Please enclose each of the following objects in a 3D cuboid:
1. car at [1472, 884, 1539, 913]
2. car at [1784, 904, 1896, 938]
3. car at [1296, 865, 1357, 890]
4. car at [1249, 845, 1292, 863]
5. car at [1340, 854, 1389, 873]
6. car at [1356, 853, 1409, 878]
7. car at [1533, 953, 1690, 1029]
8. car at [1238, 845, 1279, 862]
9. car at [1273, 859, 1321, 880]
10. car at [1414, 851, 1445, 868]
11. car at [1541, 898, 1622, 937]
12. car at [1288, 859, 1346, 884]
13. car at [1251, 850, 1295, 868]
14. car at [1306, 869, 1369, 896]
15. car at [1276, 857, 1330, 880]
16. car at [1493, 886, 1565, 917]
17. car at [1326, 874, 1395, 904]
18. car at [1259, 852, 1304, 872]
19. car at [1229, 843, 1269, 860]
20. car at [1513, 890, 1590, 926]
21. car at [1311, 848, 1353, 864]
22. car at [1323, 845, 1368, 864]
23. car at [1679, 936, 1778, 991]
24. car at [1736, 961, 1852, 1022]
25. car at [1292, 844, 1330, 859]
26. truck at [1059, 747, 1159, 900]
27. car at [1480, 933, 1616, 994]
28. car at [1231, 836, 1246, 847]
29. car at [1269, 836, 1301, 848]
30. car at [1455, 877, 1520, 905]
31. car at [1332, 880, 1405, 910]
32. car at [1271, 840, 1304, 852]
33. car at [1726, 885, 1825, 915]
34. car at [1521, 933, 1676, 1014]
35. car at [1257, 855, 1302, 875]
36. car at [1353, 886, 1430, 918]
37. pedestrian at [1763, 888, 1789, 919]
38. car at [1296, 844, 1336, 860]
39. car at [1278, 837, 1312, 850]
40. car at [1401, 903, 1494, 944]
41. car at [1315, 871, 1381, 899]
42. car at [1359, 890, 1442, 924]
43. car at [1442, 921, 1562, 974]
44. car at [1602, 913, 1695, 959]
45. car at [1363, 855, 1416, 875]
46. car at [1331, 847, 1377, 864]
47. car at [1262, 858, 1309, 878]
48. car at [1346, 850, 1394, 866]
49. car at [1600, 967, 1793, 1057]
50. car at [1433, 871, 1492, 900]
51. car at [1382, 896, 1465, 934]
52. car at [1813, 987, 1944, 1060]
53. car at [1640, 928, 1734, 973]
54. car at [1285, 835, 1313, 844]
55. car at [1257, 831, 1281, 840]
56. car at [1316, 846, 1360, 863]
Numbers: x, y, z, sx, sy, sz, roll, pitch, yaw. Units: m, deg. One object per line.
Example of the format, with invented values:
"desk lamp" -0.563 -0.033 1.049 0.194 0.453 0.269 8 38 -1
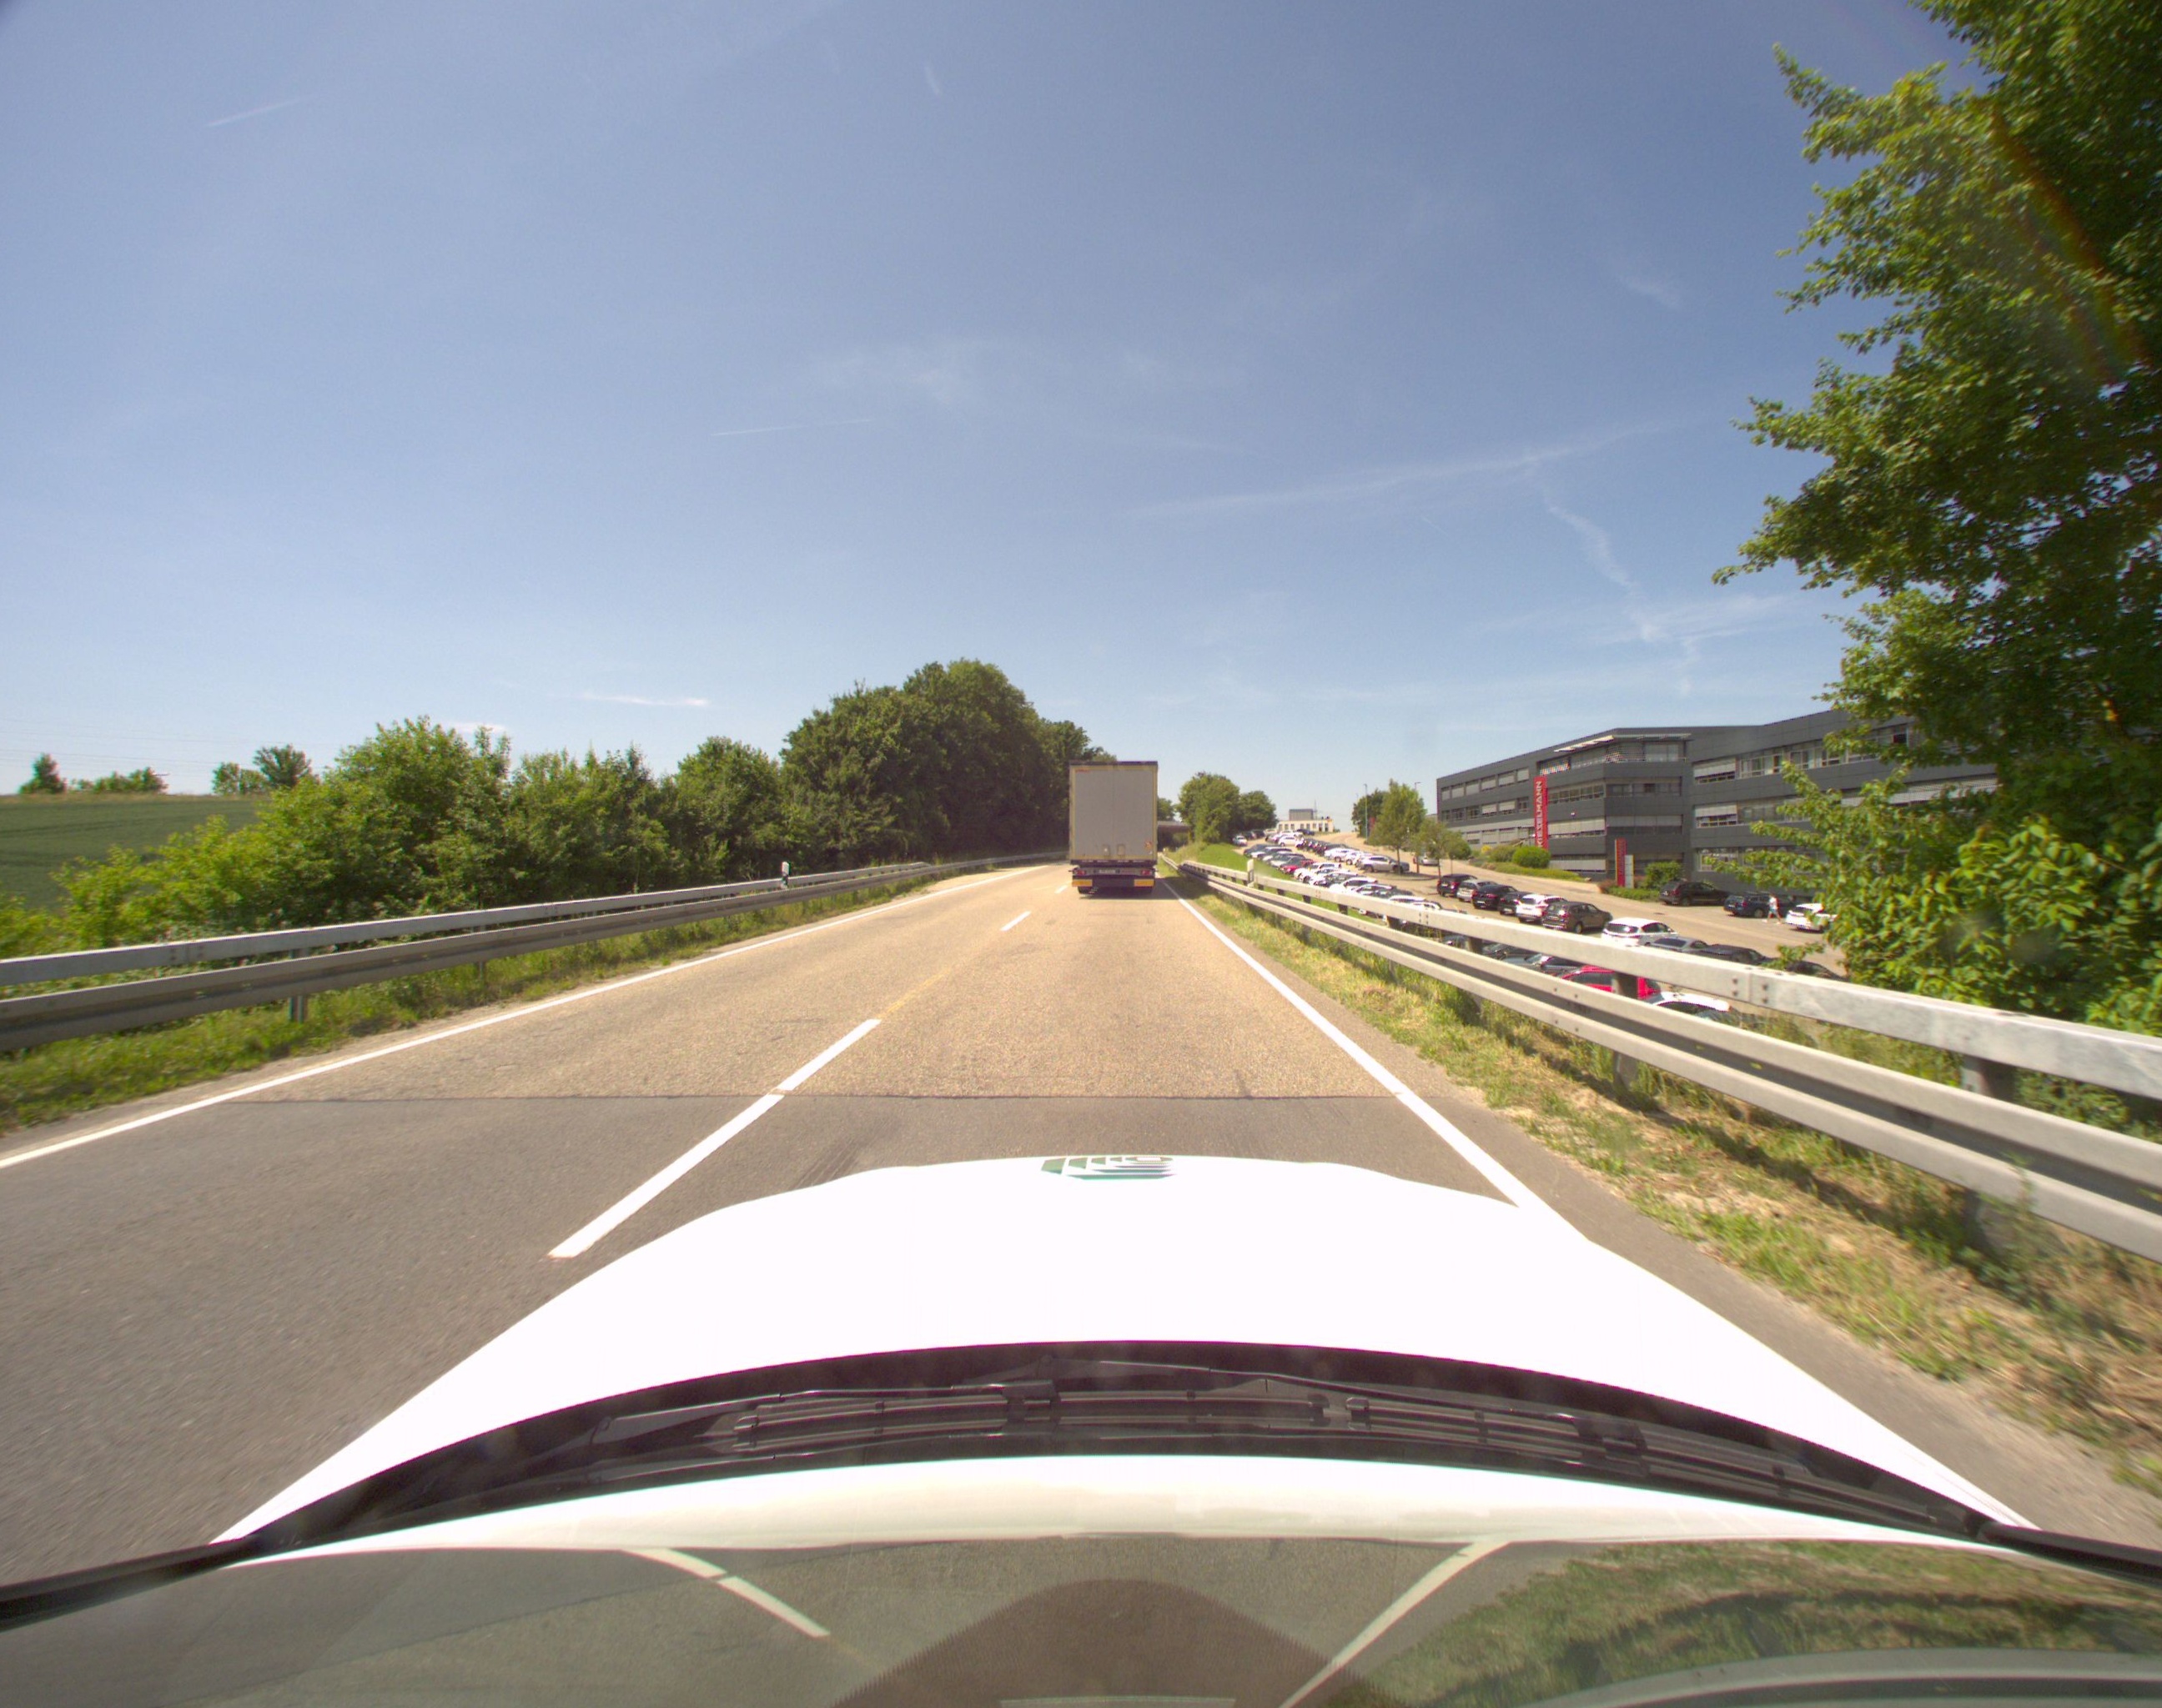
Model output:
"car" 28.318 2.932 54.310 4.602 1.512 1.803 -2 6 -32
"car" 41.986 3.681 45.115 4.558 1.571 1.820 -1 4 -1
"car" 20.321 1.898 67.458 4.323 1.558 1.900 7 4 33
"car" 21.697 -0.006 93.180 4.383 1.685 1.874 3 4 -25
"car" 29.072 0.955 83.522 4.529 1.627 1.833 3 8 29
"car" 29.476 1.097 79.783 4.530 1.626 1.833 6 12 29
"car" 18.587 4.728 28.610 4.357 1.558 1.998 7 4 38
"car" 20.901 -0.079 96.129 4.383 1.685 1.874 3 4 -25
"car" 20.517 1.463 77.361 4.393 1.685 1.870 2 4 -33
"car" 36.582 0.587 85.647 1.798 1.661 4.006 2 1 5
"car" 28.029 3.505 45.586 4.599 1.659 1.775 -1 6 -29
"car" 20.504 1.506 70.716 4.406 1.685 1.899 6 4 26
"car" 21.223 0.553 89.846 4.383 1.685 1.874 3 4 -25
"car" 20.106 2.183 63.819 4.324 1.558 1.900 6 4 28
"car" 20.195 1.295 74.106 4.374 1.685 1.878 3 3 -18
"car" 28.648 3.018 52.012 4.599 1.512 1.805 -1 6 -29
"car" 20.077 2.474 58.538 4.324 1.558 1.873 6 4 28
"car" 21.348 0.858 86.713 4.383 1.685 1.874 3 4 -25
"car" 20.441 -0.347 98.953 4.383 1.685 1.874 3 4 -25
"car" 28.265 3.229 48.922 4.599 1.659 1.805 -1 6 -29
"car" 31.002 0.225 100.609 4.530 1.628 1.832 6 4 30
"car" 30.067 0.029 92.600 4.530 1.628 1.832 6 4 30
"car" 27.047 4.501 33.990 4.427 1.509 1.773 -2 6 -32
"car" 27.336 5.209 31.213 4.421 1.535 1.775 -1 5 -27
"car" 30.979 -0.383 109.885 4.530 1.628 1.832 6 4 30
"truck" 0.973 -0.943 28.137 2.855 4.359 9.794 0 1 2
"car" 19.381 4.484 33.985 4.667 1.563 1.973 6 4 29
"car" 24.163 -1.892 124.853 1.619 1.353 3.712 4 3 1
"car" 32.275 -1.942 128.834 4.531 1.628 1.831 4 3 25
"car" 29.017 2.600 58.161 4.599 1.539 1.805 -1 6 -29
"car" 19.581 2.752 55.538 4.324 1.455 1.830 6 4 28
"car" 31.107 -1.223 122.660 4.531 1.628 1.831 4 3 25
"car" 42.680 2.812 50.125 4.558 1.571 1.820 -1 4 -1
"car" 19.402 4.432 30.798 4.667 2.012 2.092 6 4 29
"car" 20.334 1.139 83.501 4.393 1.685 1.870 2 4 -33
"car" 20.040 3.058 52.605 4.323 1.455 1.830 6 4 31
"pedestrian" 40.895 2.897 47.938 0.629 1.722 0.829 5 3 4
"car" 30.858 -0.255 107.025 4.530 1.628 1.832 6 4 30
"car" 31.387 -1.547 119.670 4.531 1.628 1.831 3 2 25
"car" 19.510 3.653 43.380 4.324 1.490 1.721 6 4 26
"car" 20.080 2.312 61.294 4.324 1.558 1.900 6 4 28
"car" 19.293 3.187 49.232 4.323 1.394 1.830 6 4 31
"car" 19.194 4.198 37.213 4.667 1.487 1.926 6 4 29
"car" 27.644 3.944 39.645 4.599 1.659 1.775 -1 6 -29
"car" 29.257 1.033 77.236 4.528 1.628 1.832 1 5 29
"car" 29.939 0.126 89.403 4.528 1.519 1.833 2 6 35
"car" 20.151 1.354 80.152 4.393 1.685 1.870 2 4 -33
"car" 30.486 0.429 85.978 4.528 1.477 1.833 -1 4 29
"car" 18.916 4.811 25.317 4.358 1.662 1.910 6 4 25
"car" 28.565 2.321 60.989 4.253 1.627 1.805 -3 6 -29
"car" 19.493 3.437 46.361 4.076 1.517 1.689 6 4 27
"car" 27.041 5.667 27.599 4.421 1.540 1.775 -1 5 -27
"car" 27.489 4.331 36.915 4.171 1.377 1.775 -1 6 -29
"car" 39.405 -2.619 147.208 4.528 1.628 1.832 3 1 38
"car" 37.281 -3.713 161.874 4.383 1.685 1.874 -1 5 -24
"car" 30.731 0.054 97.349 4.530 1.628 1.832 6 4 30
